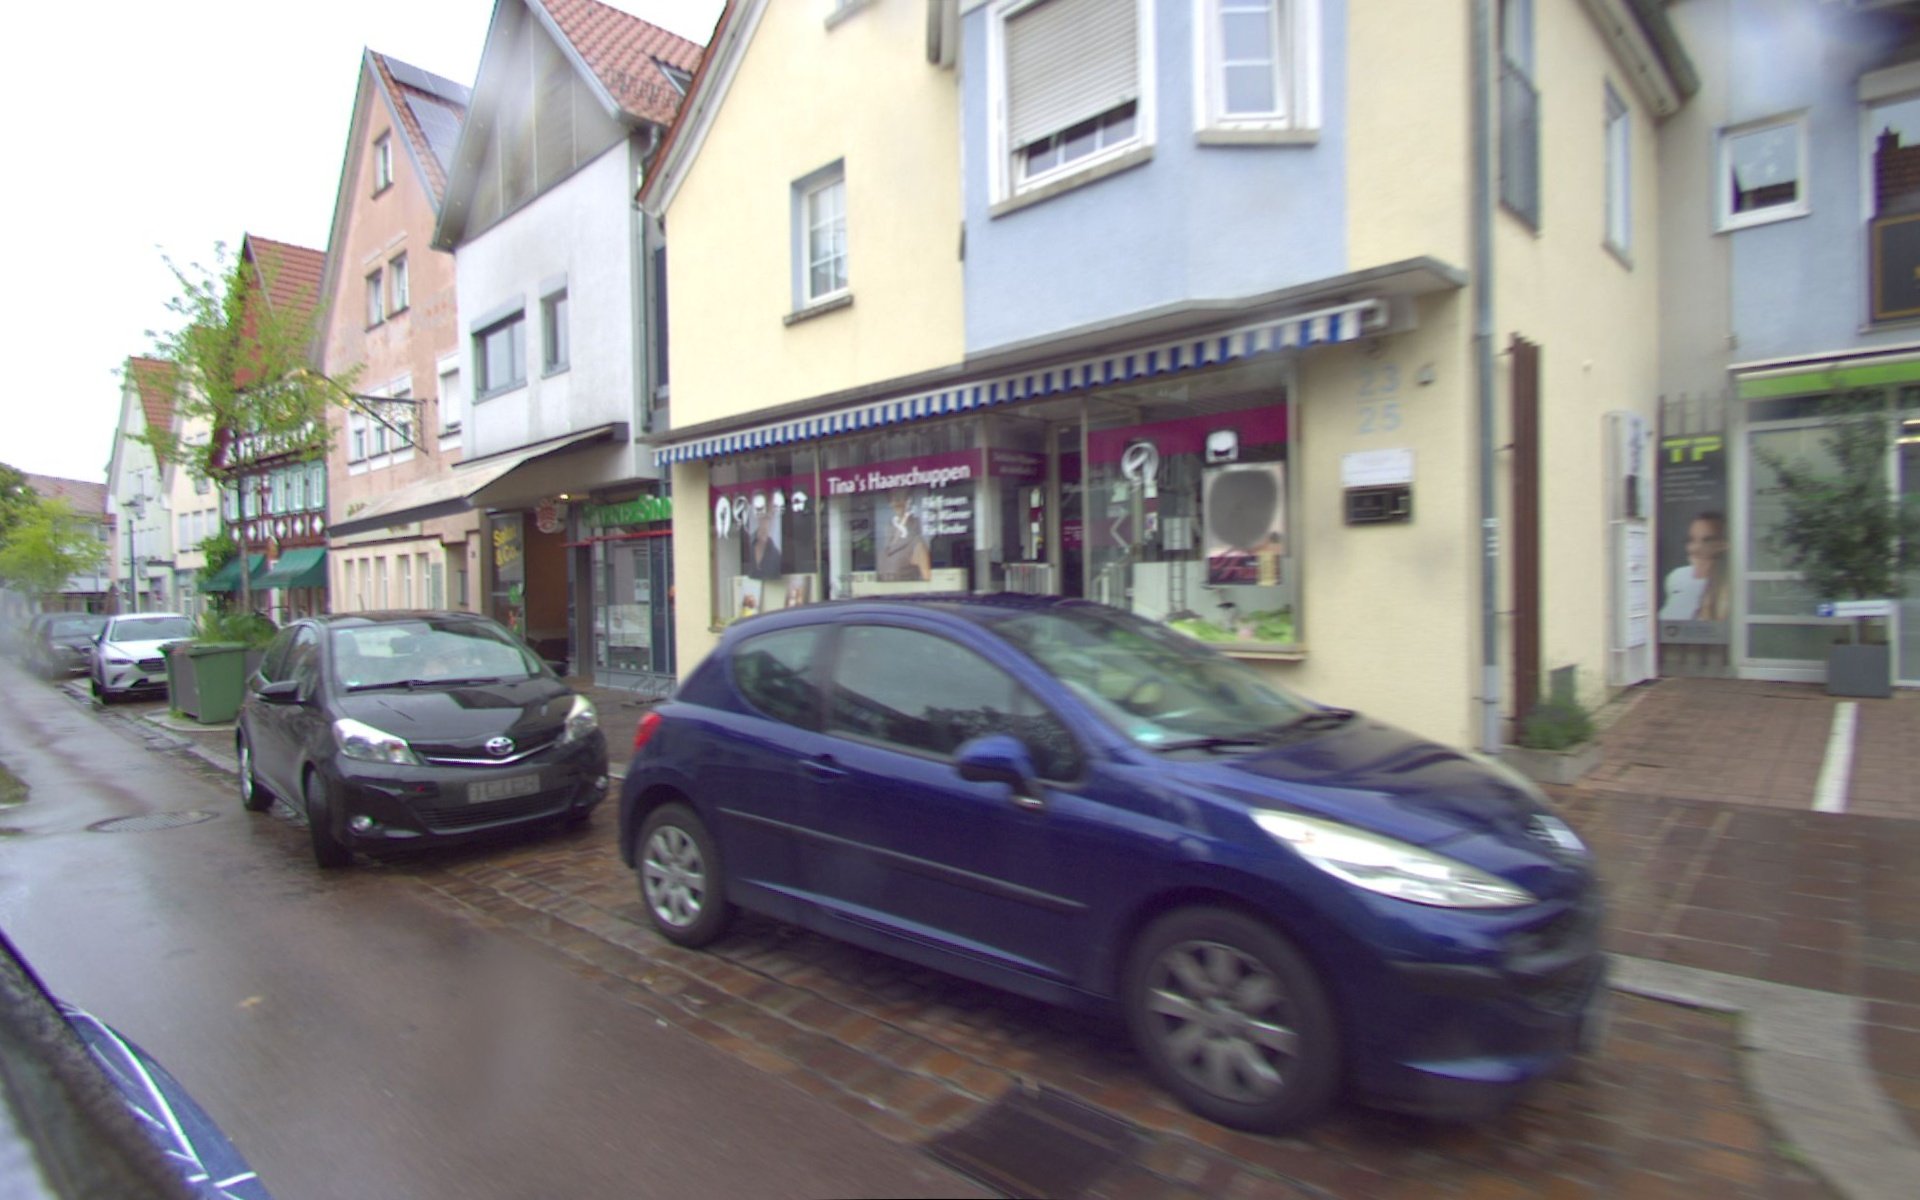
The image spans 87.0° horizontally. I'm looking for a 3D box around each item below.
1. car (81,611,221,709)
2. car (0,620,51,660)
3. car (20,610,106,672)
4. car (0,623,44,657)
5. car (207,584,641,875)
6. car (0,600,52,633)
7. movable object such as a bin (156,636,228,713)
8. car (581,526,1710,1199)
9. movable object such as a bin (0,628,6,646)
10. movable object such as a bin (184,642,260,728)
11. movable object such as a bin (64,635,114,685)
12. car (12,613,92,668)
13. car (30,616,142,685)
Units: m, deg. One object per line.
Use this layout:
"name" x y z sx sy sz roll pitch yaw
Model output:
"car" -15.232 1.021 18.980 1.672 1.549 4.125 -4 2 -43
"car" -40.607 1.713 43.749 1.840 1.536 4.332 -4 2 -43
"car" -27.453 1.229 30.919 1.802 1.678 4.647 -3 0 -43
"car" -44.666 1.893 47.561 4.616 1.453 1.843 -2 0 41
"car" -3.995 0.716 7.212 1.672 1.454 3.887 -3 0 -44
"car" -48.147 0.841 52.152 1.840 1.536 4.332 -4 2 -43
"movable object such as a bin" -11.855 1.134 15.613 0.777 1.093 0.694 -4 1 -43
"car" 0.432 0.624 3.951 3.938 1.485 1.740 -3 1 38
"movable object such as a bin" -62.033 2.381 65.107 0.715 1.091 0.607 -2 2 -21
"movable object such as a bin" -9.977 1.134 13.683 0.701 1.060 0.705 -3 1 -44
"movable object such as a bin" -20.283 1.384 23.566 0.675 1.090 0.761 0 2 40
"car" -32.387 1.367 36.045 4.645 1.678 1.804 1 3 45
"car" -22.841 1.290 26.394 4.291 1.549 1.760 -3 1 44
